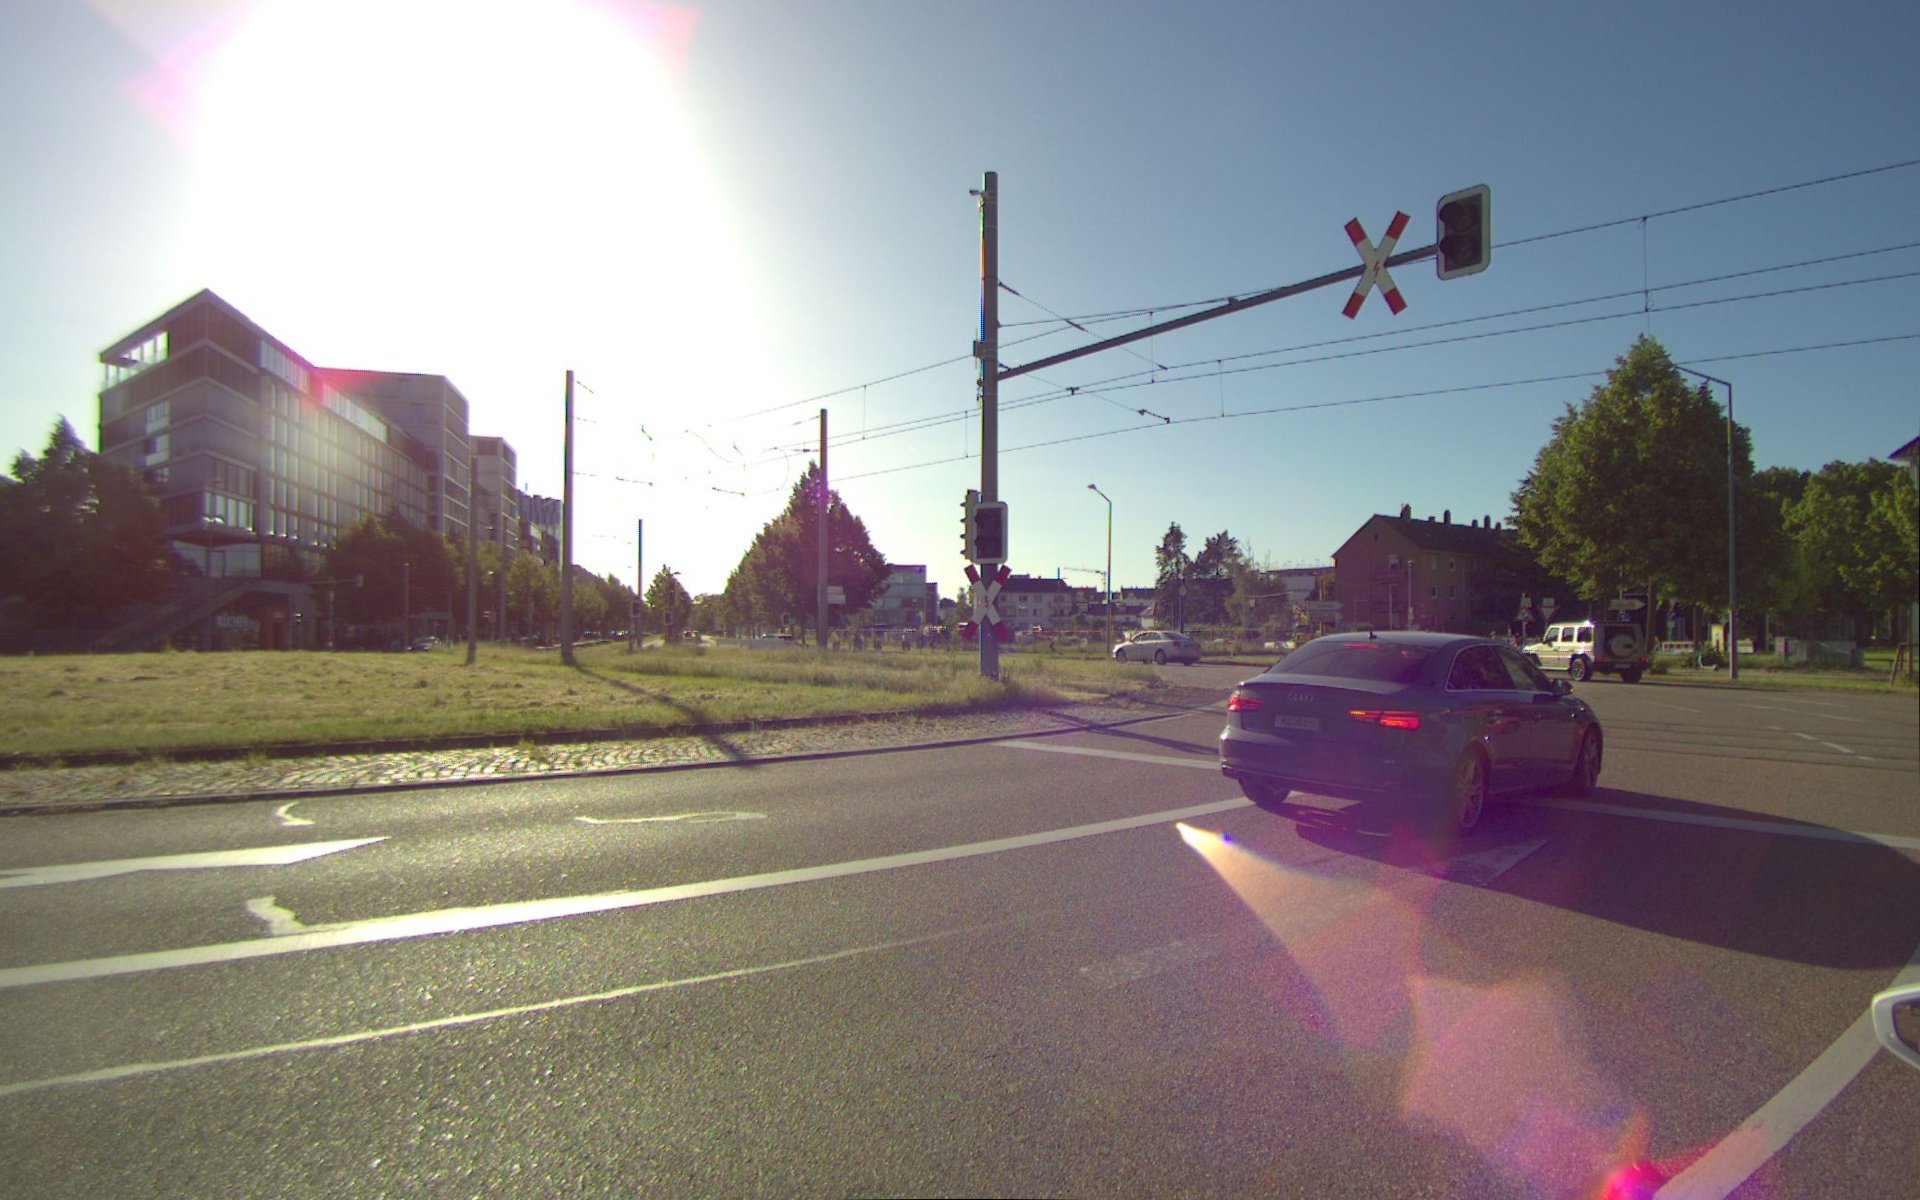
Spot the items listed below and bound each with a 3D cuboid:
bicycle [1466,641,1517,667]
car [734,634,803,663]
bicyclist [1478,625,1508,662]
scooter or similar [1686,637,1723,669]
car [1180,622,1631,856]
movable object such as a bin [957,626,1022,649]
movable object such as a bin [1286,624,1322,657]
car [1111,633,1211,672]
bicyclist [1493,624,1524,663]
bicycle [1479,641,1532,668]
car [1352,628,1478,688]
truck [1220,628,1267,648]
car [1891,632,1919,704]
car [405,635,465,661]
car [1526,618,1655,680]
[{"bbox_3d":[27.219,2.751,51.432,0.874,1.282,2.193,3,-2,-28],"label":"bicycle"},{"bbox_3d":[-11.968,2.995,62.614,4.343,1.660,1.990,-2,-2,41],"label":"car"},{"bbox_3d":[27.274,2.217,51.365,0.874,1.876,1.018,3,-2,-28],"label":"bicyclist"},{"bbox_3d":[30.823,2.192,41.582,0.437,1.264,1.262,2,-3,-12],"label":"scooter or similar"},{"bbox_3d":[3.904,0.927,8.438,4.324,1.398,1.745,1,1,-41],"label":"car"},{"bbox_3d":[3.677,4.705,127.272,7.795,2.819,2.936,1,-1,-13],"label":"movable object such as a bin"},{"bbox_3d":[30.741,3.601,89.886,2.378,2.809,4.003,2,-2,10],"label":"movable object such as a bin"},{"bbox_3d":[8.806,2.276,44.365,1.976,1.596,4.373,0,-2,-30],"label":"car"},{"bbox_3d":[26.944,2.136,49.332,0.874,1.876,1.018,3,-2,-28],"label":"bicyclist"},{"bbox_3d":[26.852,2.672,49.473,0.874,1.282,2.193,3,-2,-28],"label":"bicycle"},{"bbox_3d":[12.591,1.557,28.052,1.773,1.480,3.810,2,-1,0],"label":"car"},{"bbox_3d":[30.908,4.114,109.722,2.134,2.040,6.422,2,-2,-12],"label":"truck"},{"bbox_3d":[20.200,1.376,20.024,1.690,1.455,4.141,0,-2,33],"label":"car"},{"bbox_3d":[-38.237,3.479,73.251,1.739,1.808,3.921,0,-2,13],"label":"car"},{"bbox_3d":[21.150,1.626,33.943,1.963,1.922,4.757,0,-2,9],"label":"car"}]
